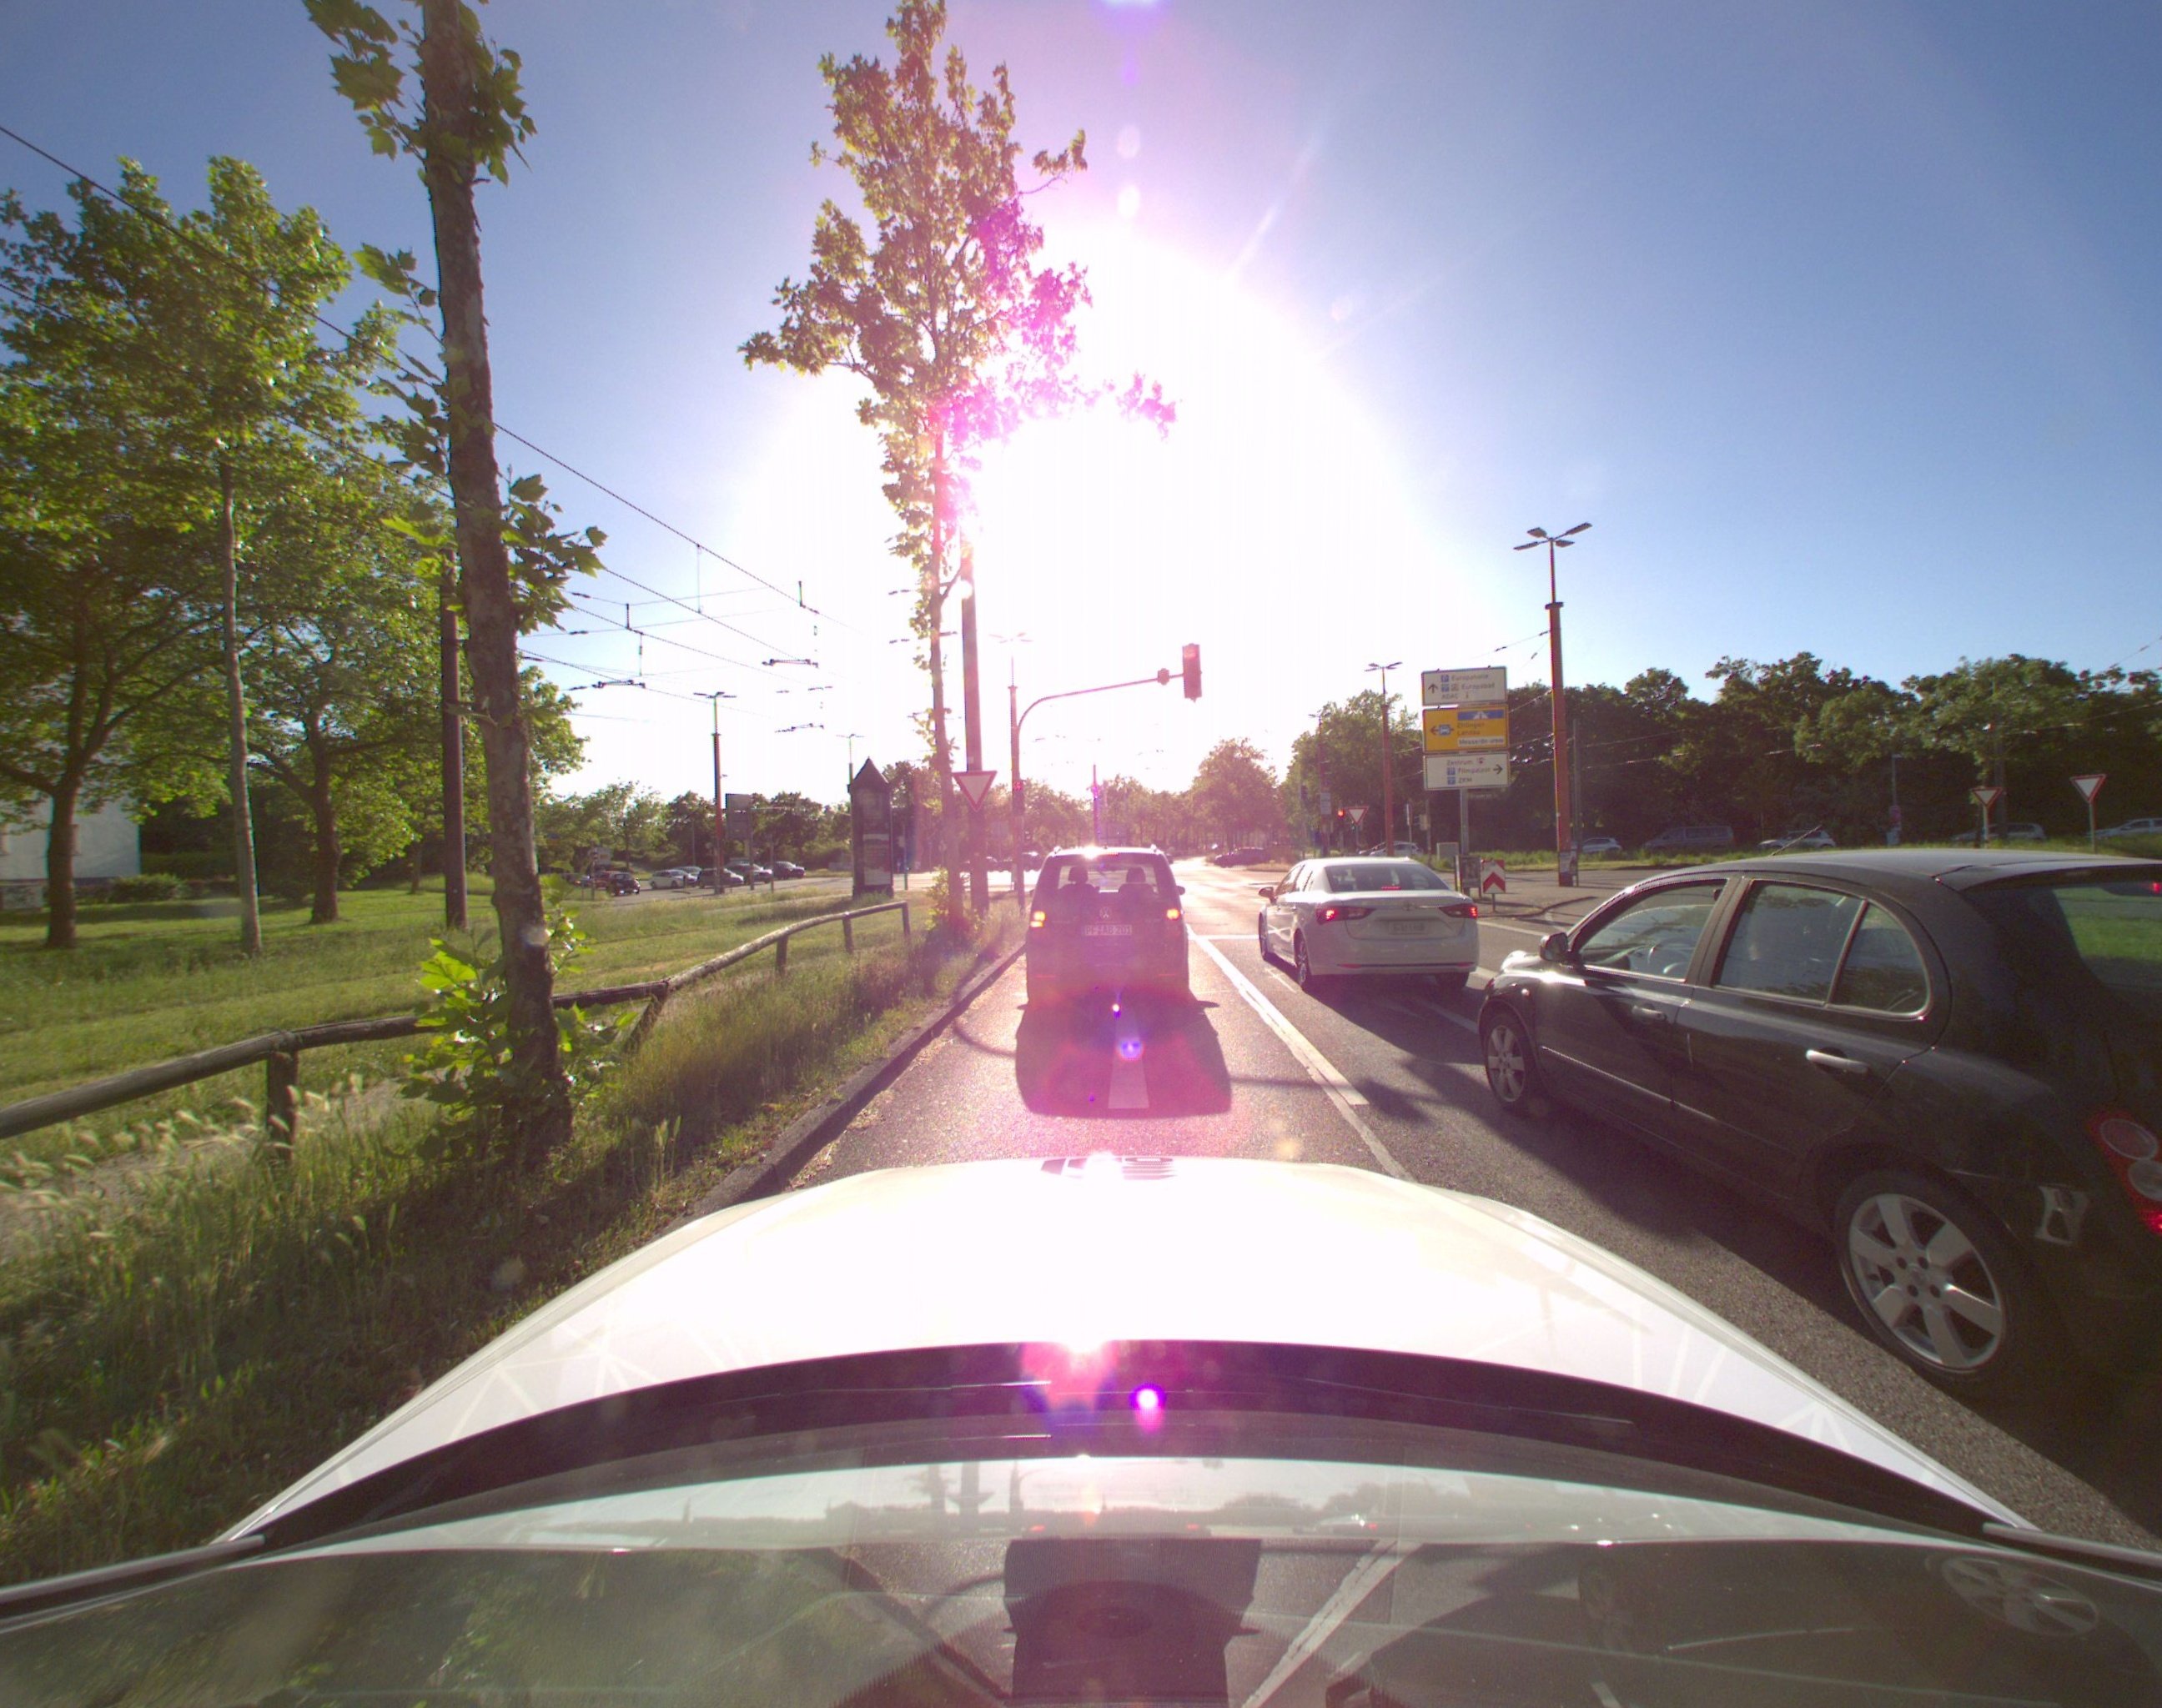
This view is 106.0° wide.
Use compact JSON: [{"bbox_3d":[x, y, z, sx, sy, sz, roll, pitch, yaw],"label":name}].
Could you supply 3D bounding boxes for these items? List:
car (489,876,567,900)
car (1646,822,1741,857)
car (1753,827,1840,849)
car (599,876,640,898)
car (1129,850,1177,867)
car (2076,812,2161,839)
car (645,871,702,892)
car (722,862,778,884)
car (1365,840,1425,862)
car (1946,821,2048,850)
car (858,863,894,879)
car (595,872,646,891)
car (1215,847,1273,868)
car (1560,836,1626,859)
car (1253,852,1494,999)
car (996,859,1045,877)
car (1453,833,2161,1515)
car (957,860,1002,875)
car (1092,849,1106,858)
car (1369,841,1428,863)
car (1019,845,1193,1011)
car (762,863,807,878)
[{"bbox_3d":[-45.114,2.762,66.610,4.840,1.731,1.989,-1,0,-17],"label":"car"},{"bbox_3d":[38.399,-0.866,51.195,4.526,2.013,2.013,-2,0,30],"label":"car"},{"bbox_3d":[44.824,-0.978,51.108,3.792,1.264,1.613,0,-1,28],"label":"car"},{"bbox_3d":[-31.879,2.263,56.202,1.814,1.390,2.814,-1,0,-43],"label":"car"},{"bbox_3d":[6.421,0.384,72.505,3.926,1.441,1.697,0,-1,29],"label":"car"},{"bbox_3d":[56.990,-1.538,44.277,3.403,1.368,1.298,0,-1,33],"label":"car"},{"bbox_3d":[-32.348,2.195,64.668,4.135,1.612,1.880,-2,0,27],"label":"car"},{"bbox_3d":[-26.566,1.544,65.377,3.950,1.644,2.012,-2,0,26],"label":"car"},{"bbox_3d":[24.399,-0.229,63.314,4.080,1.644,1.864,-2,0,29],"label":"car"},{"bbox_3d":[49.861,-0.987,44.427,3.362,1.457,1.474,-2,0,28],"label":"car"},{"bbox_3d":[-22.127,1.840,87.910,3.608,1.655,1.690,0,-1,27],"label":"car"},{"bbox_3d":[-38.302,2.298,67.716,3.949,1.513,1.743,-2,0,27],"label":"car"},{"bbox_3d":[13.046,0.277,65.205,4.080,1.598,1.840,-2,0,29],"label":"car"},{"bbox_3d":[35.354,-0.442,56.329,3.700,1.473,1.610,-2,0,28],"label":"car"},{"bbox_3d":[3.330,0.709,10.154,1.713,1.438,4.202,-1,0,3],"label":"car"},{"bbox_3d":[-5.582,1.281,75.057,4.139,1.644,1.770,0,-1,28],"label":"car"},{"bbox_3d":[3.227,0.697,3.583,1.647,1.500,3.617,-1,0,2],"label":"car"},{"bbox_3d":[-10.120,1.347,81.278,4.082,1.511,1.834,0,-1,28],"label":"car"},{"bbox_3d":[3.310,-0.083,148.791,1.904,1.635,4.010,0,0,9],"label":"car"},{"bbox_3d":[23.239,-0.154,59.594,3.783,1.523,1.706,-2,0,29],"label":"car"},{"bbox_3d":[0.299,0.726,9.935,1.694,1.621,3.898,-1,0,1],"label":"car"},{"bbox_3d":[-26.525,1.482,72.857,3.948,1.330,1.709,-2,0,33],"label":"car"}]
